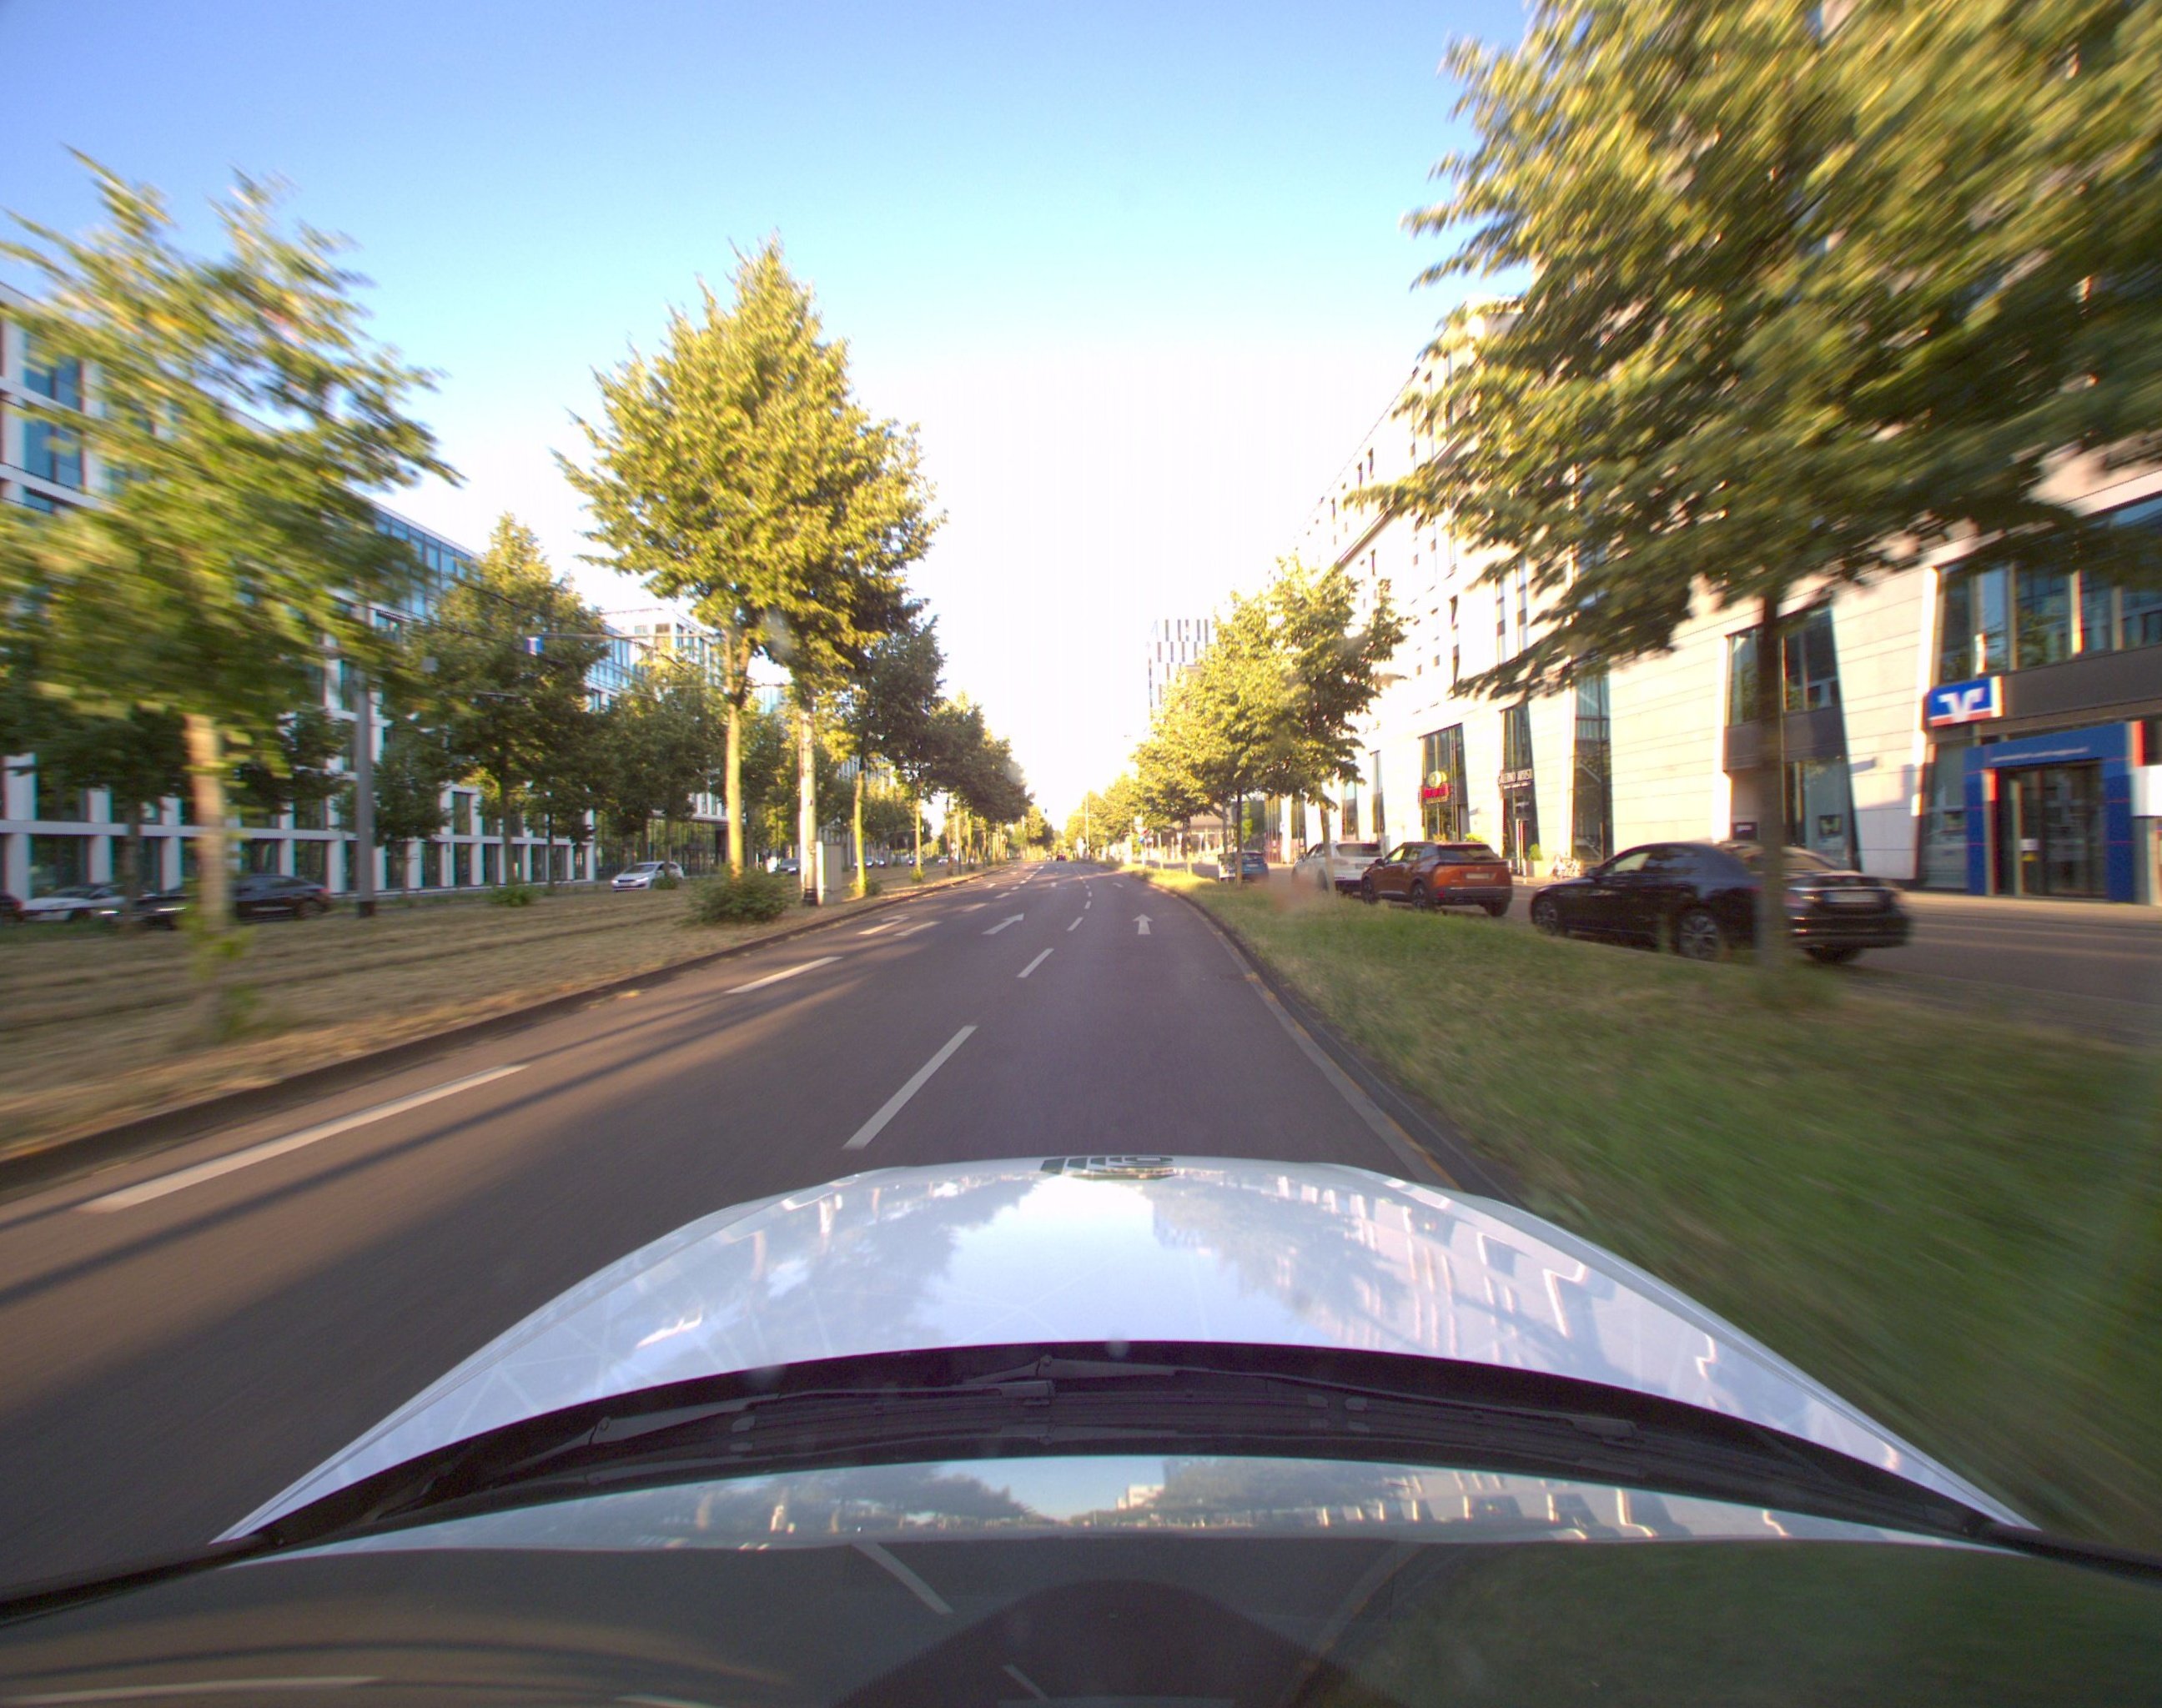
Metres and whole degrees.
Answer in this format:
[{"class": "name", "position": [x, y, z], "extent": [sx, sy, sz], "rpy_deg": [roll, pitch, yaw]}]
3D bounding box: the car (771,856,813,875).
[{"class": "car", "position": [-21.749, 0.867, 61.471], "extent": [1.653, 1.332, 4.736], "rpy_deg": [-2, 0, -3]}]

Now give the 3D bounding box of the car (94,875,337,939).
[{"class": "car", "position": [-22.184, 1.285, 21.182], "extent": [1.653, 1.332, 4.469], "rpy_deg": [-2, 0, -3]}]

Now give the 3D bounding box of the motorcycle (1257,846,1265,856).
[{"class": "motorcycle", "position": [22.315, -0.371, 101.160], "extent": [0.647, 1.094, 2.335], "rpy_deg": [-1, 0, 4]}]

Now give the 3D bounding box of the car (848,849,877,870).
[{"class": "car", "position": [-22.846, 0.553, 85.253], "extent": [1.989, 2.013, 3.996], "rpy_deg": [-2, 0, -2]}]

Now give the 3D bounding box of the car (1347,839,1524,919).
[{"class": "car", "position": [7.539, 0.487, 17.880], "extent": [1.850, 1.529, 4.479], "rpy_deg": [0, 0, -2]}]

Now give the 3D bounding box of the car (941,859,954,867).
[{"class": "car", "position": [-22.975, 1.511, 140.183], "extent": [1.783, 1.332, 3.667], "rpy_deg": [-1, 0, -3]}]

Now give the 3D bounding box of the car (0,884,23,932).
[{"class": "car", "position": [-36.989, 1.822, 25.912], "extent": [1.854, 1.581, 3.664], "rpy_deg": [-1, 0, -1]}]

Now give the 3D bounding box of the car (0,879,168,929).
[{"class": "car", "position": [-37.312, 1.825, 30.548], "extent": [1.854, 1.581, 3.783], "rpy_deg": [-1, 0, -1]}]

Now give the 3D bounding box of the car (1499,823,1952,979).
[{"class": "car", "position": [7.774, 0.470, 10.643], "extent": [1.939, 1.549, 4.806], "rpy_deg": [-1, 0, -3]}]

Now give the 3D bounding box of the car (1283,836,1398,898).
[{"class": "car", "position": [7.876, 0.359, 25.279], "extent": [1.945, 1.714, 5.157], "rpy_deg": [0, 0, 0]}]

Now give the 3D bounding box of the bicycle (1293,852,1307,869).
[{"class": "bicycle", "position": [14.065, 0.399, 52.362], "extent": [0.444, 1.072, 1.775], "rpy_deg": [-3, 0, 3]}]

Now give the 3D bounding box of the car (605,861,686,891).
[{"class": "car", "position": [-21.137, 1.029, 39.735], "extent": [1.653, 1.332, 4.525], "rpy_deg": [-2, 0, -3]}]

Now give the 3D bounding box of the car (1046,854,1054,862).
[{"class": "car", "position": [-7.948, 1.089, 209.849], "extent": [2.082, 2.013, 3.997], "rpy_deg": [-1, 0, -2]}]

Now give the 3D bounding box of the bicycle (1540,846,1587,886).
[{"class": "bicycle", "position": [14.696, 0.339, 24.856], "extent": [0.567, 1.124, 1.839], "rpy_deg": [-3, 0, 10]}]

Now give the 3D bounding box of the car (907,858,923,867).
[{"class": "car", "position": [-25.723, 1.287, 126.281], "extent": [1.653, 1.332, 4.579], "rpy_deg": [-1, 0, -3]}]

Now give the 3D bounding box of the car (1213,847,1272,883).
[{"class": "car", "position": [7.216, 0.452, 36.697], "extent": [1.719, 1.529, 4.265], "rpy_deg": [0, 0, -2]}]

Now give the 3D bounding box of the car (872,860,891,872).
[{"class": "car", "position": [-26.703, 1.592, 109.110], "extent": [1.653, 1.502, 4.185], "rpy_deg": [-1, 0, -3]}]

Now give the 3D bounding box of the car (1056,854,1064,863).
[{"class": "car", "position": [-4.991, 1.073, 192.803], "extent": [1.989, 2.013, 3.997], "rpy_deg": [-1, 0, -2]}]
